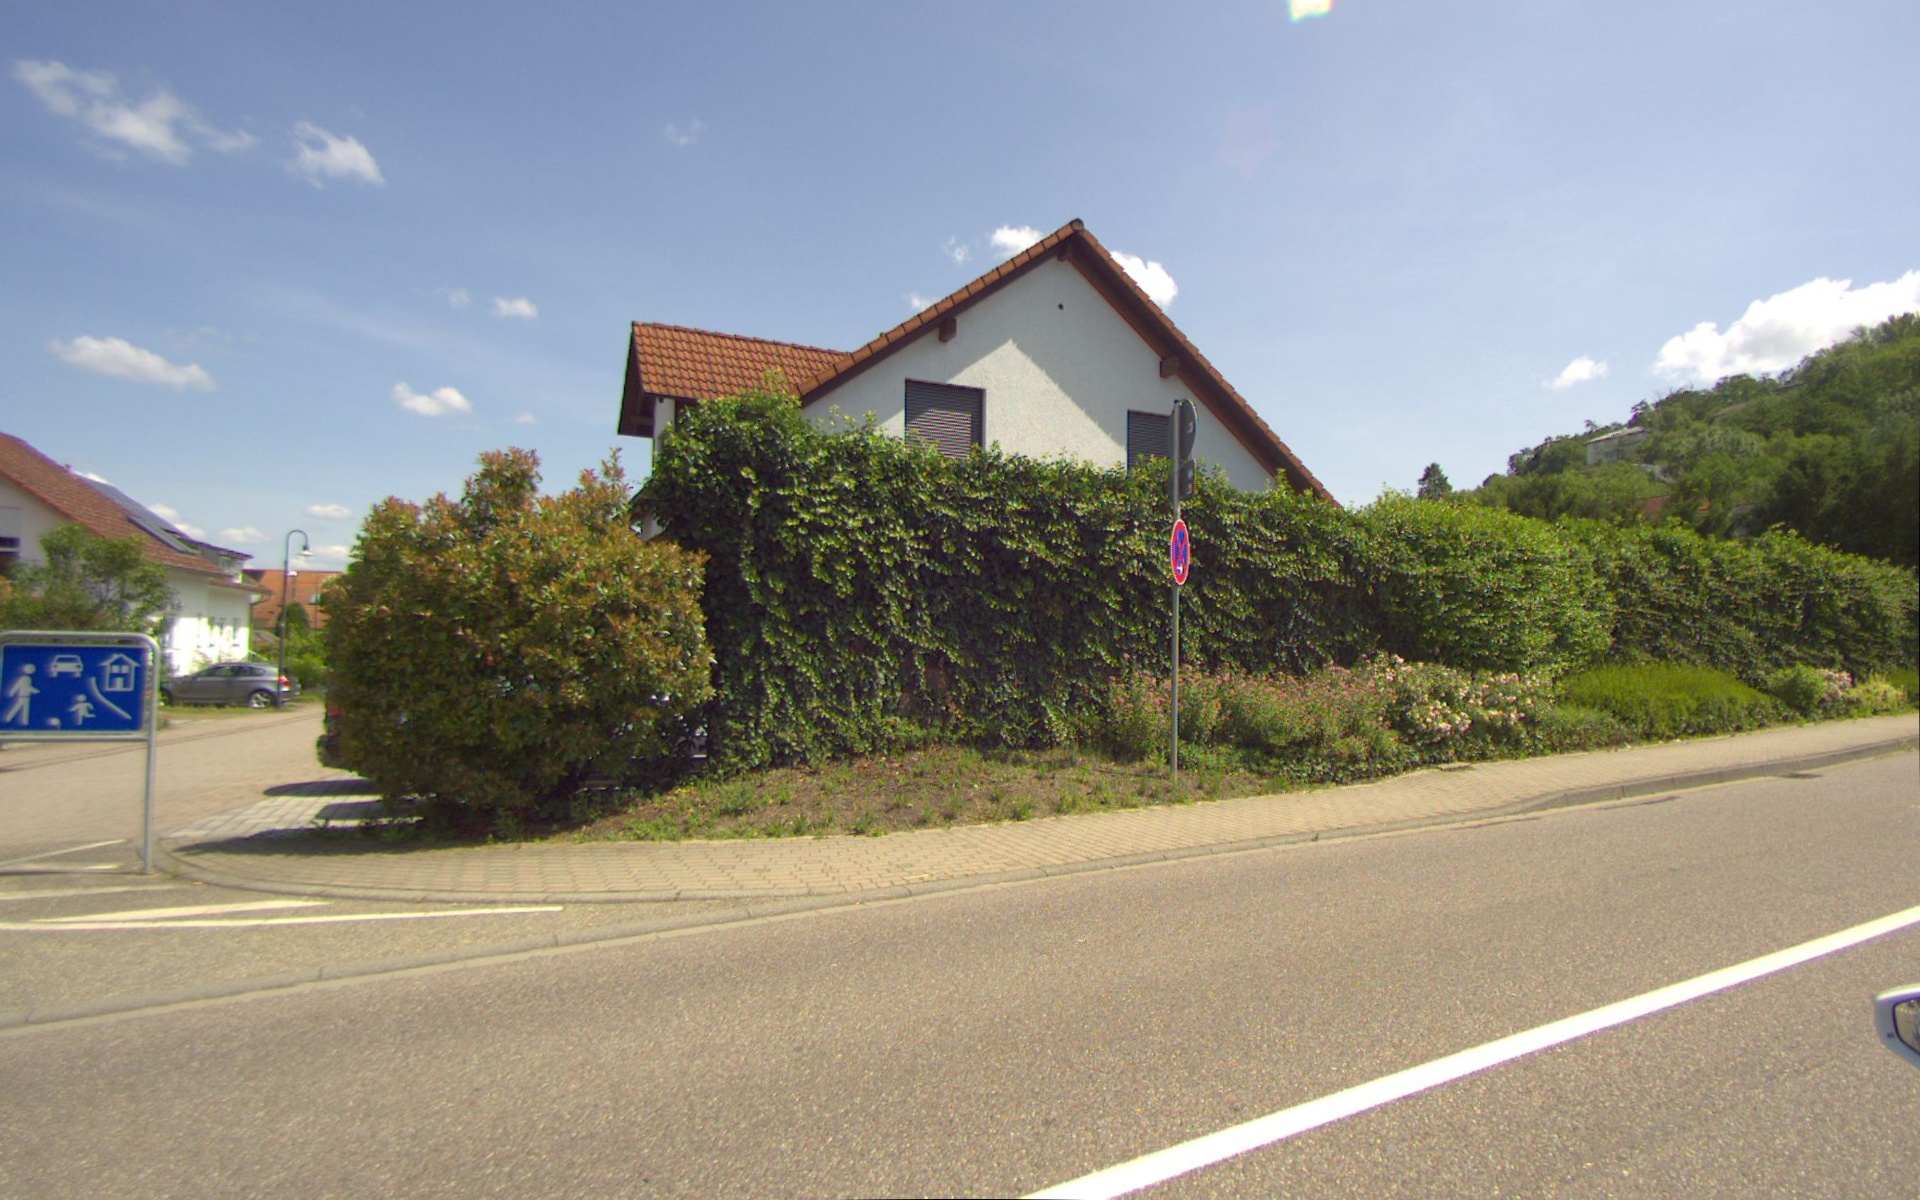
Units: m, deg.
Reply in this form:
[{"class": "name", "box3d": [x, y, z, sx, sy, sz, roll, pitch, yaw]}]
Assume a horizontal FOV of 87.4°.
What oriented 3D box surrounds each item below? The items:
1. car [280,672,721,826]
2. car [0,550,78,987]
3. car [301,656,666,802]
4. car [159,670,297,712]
[{"class": "car", "box3d": [-4.687, 1.457, 10.644, 3.948, 1.302, 1.655, 1, -4, -27]}, {"class": "car", "box3d": [-6.709, 0.724, 4.088, 4.966, 1.876, 2.002, -1, -3, 11]}, {"class": "car", "box3d": [-5.957, 1.515, 12.814, 3.953, 1.570, 1.758, 1, -3, -30]}, {"class": "car", "box3d": [-22.876, 2.816, 31.537, 3.234, 1.200, 1.494, 1, -3, -25]}]
